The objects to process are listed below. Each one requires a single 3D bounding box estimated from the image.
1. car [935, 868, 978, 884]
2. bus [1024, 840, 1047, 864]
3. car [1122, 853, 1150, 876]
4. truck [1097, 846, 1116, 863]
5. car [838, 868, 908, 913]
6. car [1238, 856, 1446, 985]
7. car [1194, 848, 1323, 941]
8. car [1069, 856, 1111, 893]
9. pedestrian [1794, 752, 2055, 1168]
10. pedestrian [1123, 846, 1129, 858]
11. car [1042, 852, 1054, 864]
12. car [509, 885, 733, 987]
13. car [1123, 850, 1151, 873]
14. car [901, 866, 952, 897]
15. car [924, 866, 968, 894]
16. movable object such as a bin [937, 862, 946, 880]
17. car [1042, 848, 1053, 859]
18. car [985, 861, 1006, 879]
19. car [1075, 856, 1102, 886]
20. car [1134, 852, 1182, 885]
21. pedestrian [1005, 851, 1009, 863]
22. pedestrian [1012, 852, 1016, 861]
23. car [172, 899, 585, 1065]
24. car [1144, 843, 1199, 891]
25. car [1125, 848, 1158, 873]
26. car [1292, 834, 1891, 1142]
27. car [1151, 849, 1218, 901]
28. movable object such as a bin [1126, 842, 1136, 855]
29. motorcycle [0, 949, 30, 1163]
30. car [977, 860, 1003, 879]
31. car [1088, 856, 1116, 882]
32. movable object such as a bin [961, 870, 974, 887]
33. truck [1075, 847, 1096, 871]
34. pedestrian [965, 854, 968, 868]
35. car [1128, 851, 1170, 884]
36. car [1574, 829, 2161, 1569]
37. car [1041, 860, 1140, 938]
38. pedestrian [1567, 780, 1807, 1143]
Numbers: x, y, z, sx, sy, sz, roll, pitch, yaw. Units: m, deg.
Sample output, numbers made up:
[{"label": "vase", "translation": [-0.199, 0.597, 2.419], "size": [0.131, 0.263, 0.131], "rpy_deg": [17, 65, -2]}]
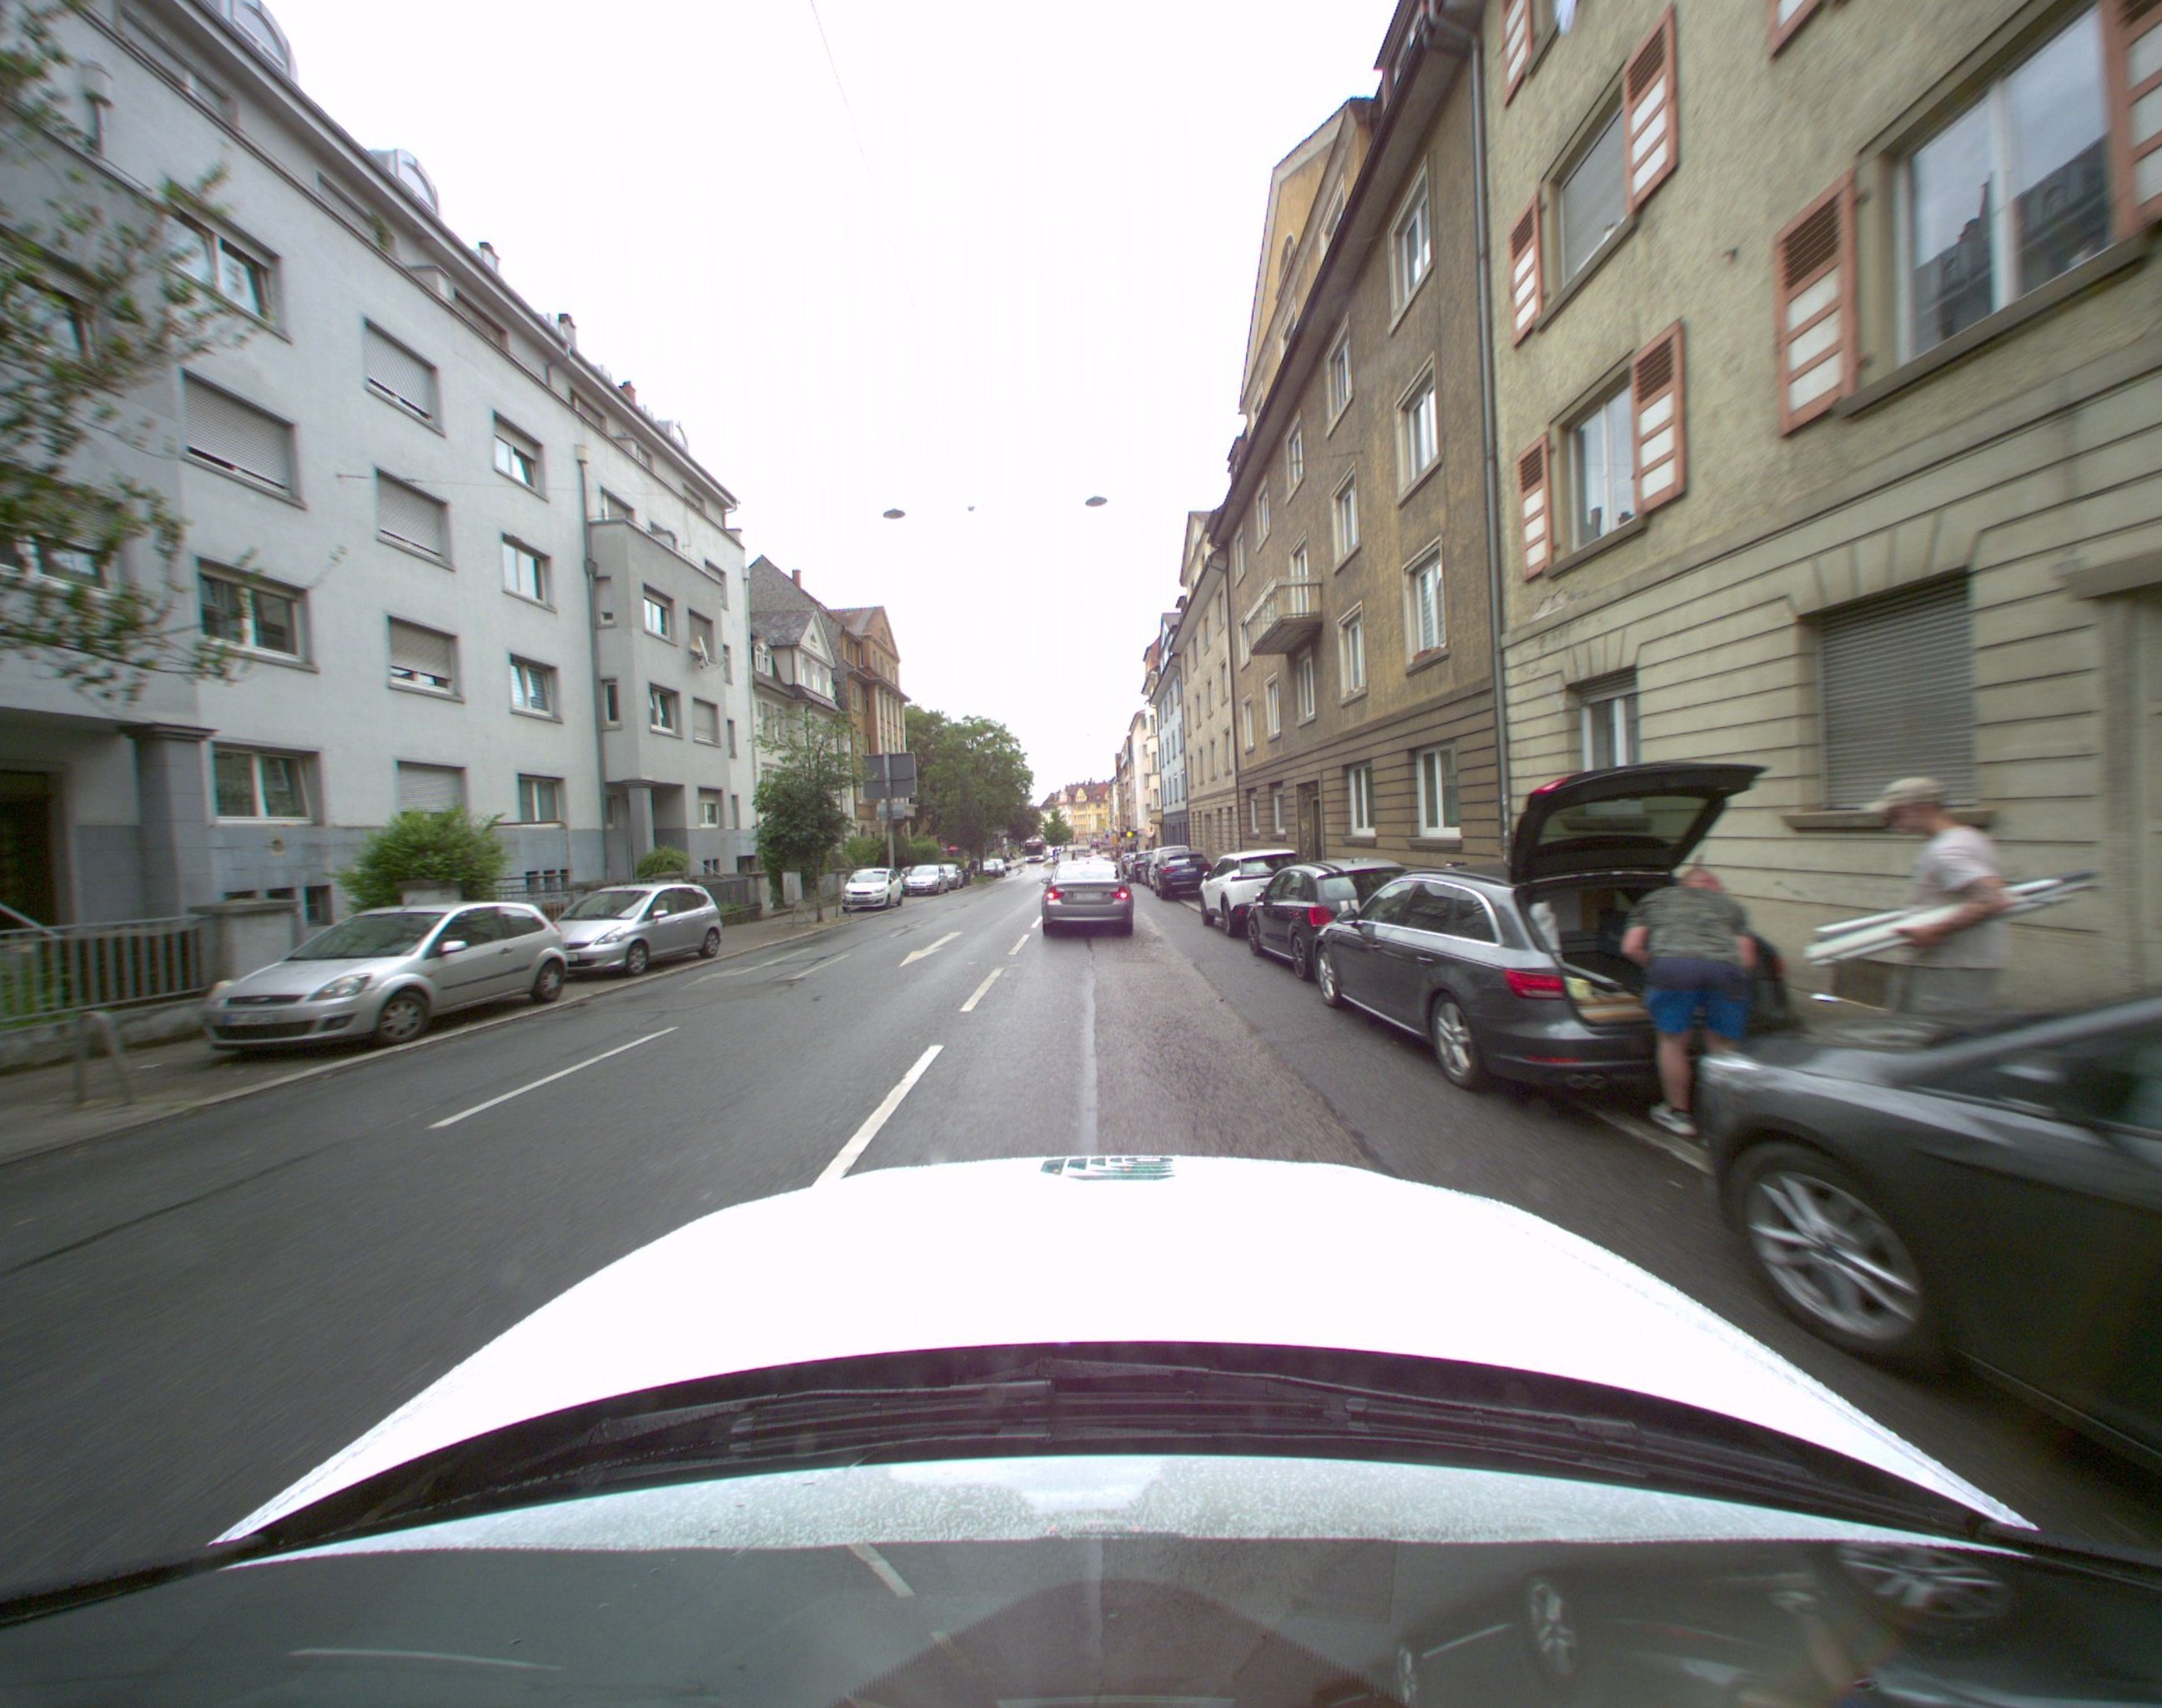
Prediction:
[{"label": "car", "translation": [-11.861, 2.076, 77.731], "size": [3.804, 1.390, 1.742], "rpy_deg": [-1, -1, -1]}, {"label": "bus", "translation": [-6.617, -0.249, 119.543], "size": [2.673, 3.201, 11.950], "rpy_deg": [0, -1, -1]}, {"label": "car", "translation": [4.197, 0.805, 62.758], "size": [1.811, 1.557, 4.293], "rpy_deg": [-4, 0, 1]}, {"label": "truck", "translation": [3.331, 0.111, 106.230], "size": [2.209, 2.117, 4.650], "rpy_deg": [1, -1, -1]}, {"label": "car", "translation": [-7.701, 1.312, 30.485], "size": [1.641, 1.508, 3.794], "rpy_deg": [-2, -1, -1]}, {"label": "car", "translation": [3.373, 0.785, 11.259], "size": [1.627, 1.479, 3.733], "rpy_deg": [0, -1, -1]}, {"label": "car", "translation": [3.442, 0.735, 16.527], "size": [1.627, 1.638, 4.193], "rpy_deg": [0, -1, -1]}, {"label": "car", "translation": [0.331, 0.815, 33.286], "size": [1.597, 1.420, 3.285], "rpy_deg": [0, -1, -2]}, {"label": "pedestrian", "translation": [4.077, 0.460, 3.991], "size": [0.704, 1.787, 0.691], "rpy_deg": [-6, -2, 45]}, {"label": "pedestrian", "translation": [6.157, -0.311, 111.645], "size": [0.746, 1.661, 0.756], "rpy_deg": [0, -1, 6]}, {"label": "car", "translation": [-5.702, 0.653, 140.324], "size": [1.987, 2.014, 3.998], "rpy_deg": [0, -1, -1]}, {"label": "car", "translation": [-8.071, 1.365, 14.754], "size": [1.593, 1.451, 3.891], "rpy_deg": [-2, -1, 4]}, {"label": "car", "translation": [3.859, 0.485, 56.397], "size": [1.578, 1.429, 3.594], "rpy_deg": [-5, 0, 0]}, {"label": "car", "translation": [-7.647, 1.352, 40.685], "size": [1.677, 1.390, 3.910], "rpy_deg": [-1, 0, 1]}, {"label": "car", "translation": [-7.689, 1.439, 46.648], "size": [1.677, 1.390, 3.936], "rpy_deg": [-4, 0, 1]}, {"label": "movable object such as a bin", "translation": [-9.966, 1.216, 58.108], "size": [0.438, 1.308, 0.650], "rpy_deg": [-3, 0, -1]}, {"label": "car", "translation": [-6.361, -0.145, 155.885], "size": [1.987, 2.014, 3.998], "rpy_deg": [0, -1, -1]}, {"label": "car", "translation": [-7.354, 1.348, 70.422], "size": [1.628, 1.454, 3.835], "rpy_deg": [-2, 0, -3]}, {"label": "car", "translation": [0.511, 1.191, 57.531], "size": [1.700, 2.014, 3.997], "rpy_deg": [0, -1, -2]}, {"label": "car", "translation": [3.756, 0.685, 40.344], "size": [1.835, 1.409, 4.386], "rpy_deg": [-5, 0, -1]}, {"label": "pedestrian", "translation": [-10.297, 0.413, 113.743], "size": [0.542, 1.709, 0.465], "rpy_deg": [1, -1, -6]}, {"label": "pedestrian", "translation": [-10.665, 0.362, 129.506], "size": [0.617, 1.378, 0.545], "rpy_deg": [0, -1, 1]}, {"label": "car", "translation": [-7.998, 1.340, 9.840], "size": [1.596, 1.396, 3.886], "rpy_deg": [-2, -1, 0]}, {"label": "car", "translation": [3.794, 0.517, 34.822], "size": [1.785, 1.817, 4.079], "rpy_deg": [-4, 0, 0]}, {"label": "car", "translation": [3.838, 0.393, 52.045], "size": [1.724, 1.429, 3.973], "rpy_deg": [-5, 0, 0]}, {"label": "car", "translation": [3.210, 0.715, 6.457], "size": [1.772, 1.479, 4.585], "rpy_deg": [-3, -1, -1]}, {"label": "car", "translation": [3.522, 0.677, 28.492], "size": [1.784, 1.548, 4.226], "rpy_deg": [-4, 0, 1]}, {"label": "movable object such as a bin", "translation": [6.988, -0.761, 113.154], "size": [1.119, 1.702, 1.432], "rpy_deg": [-3, -1, -2]}, {"label": "motorcycle", "translation": [-7.900, 1.381, 5.556], "size": [1.788, 1.315, 0.746], "rpy_deg": [-3, 0, 41]}, {"label": "car", "translation": [-7.354, 1.220, 65.932], "size": [1.649, 1.454, 3.940], "rpy_deg": [-2, 0, -1]}, {"label": "car", "translation": [1.162, 0.797, 44.453], "size": [1.430, 1.357, 3.763], "rpy_deg": [0, -1, 2]}, {"label": "movable object such as a bin", "translation": [-7.214, 1.553, 51.777], "size": [0.627, 1.058, 0.600], "rpy_deg": [-3, -1, 0]}, {"label": "truck", "translation": [0.433, 0.603, 89.706], "size": [2.210, 2.544, 4.778], "rpy_deg": [0, -1, -1]}, {"label": "pedestrian", "translation": [-15.091, 0.961, 107.365], "size": [0.464, 1.790, 0.543], "rpy_deg": [1, -1, -6]}, {"label": "car", "translation": [3.722, 0.753, 45.194], "size": [1.835, 1.621, 4.206], "rpy_deg": [-4, -1, -1]}, {"label": "car", "translation": [3.060, 0.664, 1.342], "size": [1.773, 1.479, 4.185], "rpy_deg": [-3, -1, -2]}, {"label": "car", "translation": [0.185, 0.833, 16.224], "size": [1.750, 1.362, 3.164], "rpy_deg": [-1, -1, 0]}, {"label": "pedestrian", "translation": [3.077, 0.527, 4.222], "size": [0.625, 1.690, 0.638], "rpy_deg": [-10, -2, 22]}]
